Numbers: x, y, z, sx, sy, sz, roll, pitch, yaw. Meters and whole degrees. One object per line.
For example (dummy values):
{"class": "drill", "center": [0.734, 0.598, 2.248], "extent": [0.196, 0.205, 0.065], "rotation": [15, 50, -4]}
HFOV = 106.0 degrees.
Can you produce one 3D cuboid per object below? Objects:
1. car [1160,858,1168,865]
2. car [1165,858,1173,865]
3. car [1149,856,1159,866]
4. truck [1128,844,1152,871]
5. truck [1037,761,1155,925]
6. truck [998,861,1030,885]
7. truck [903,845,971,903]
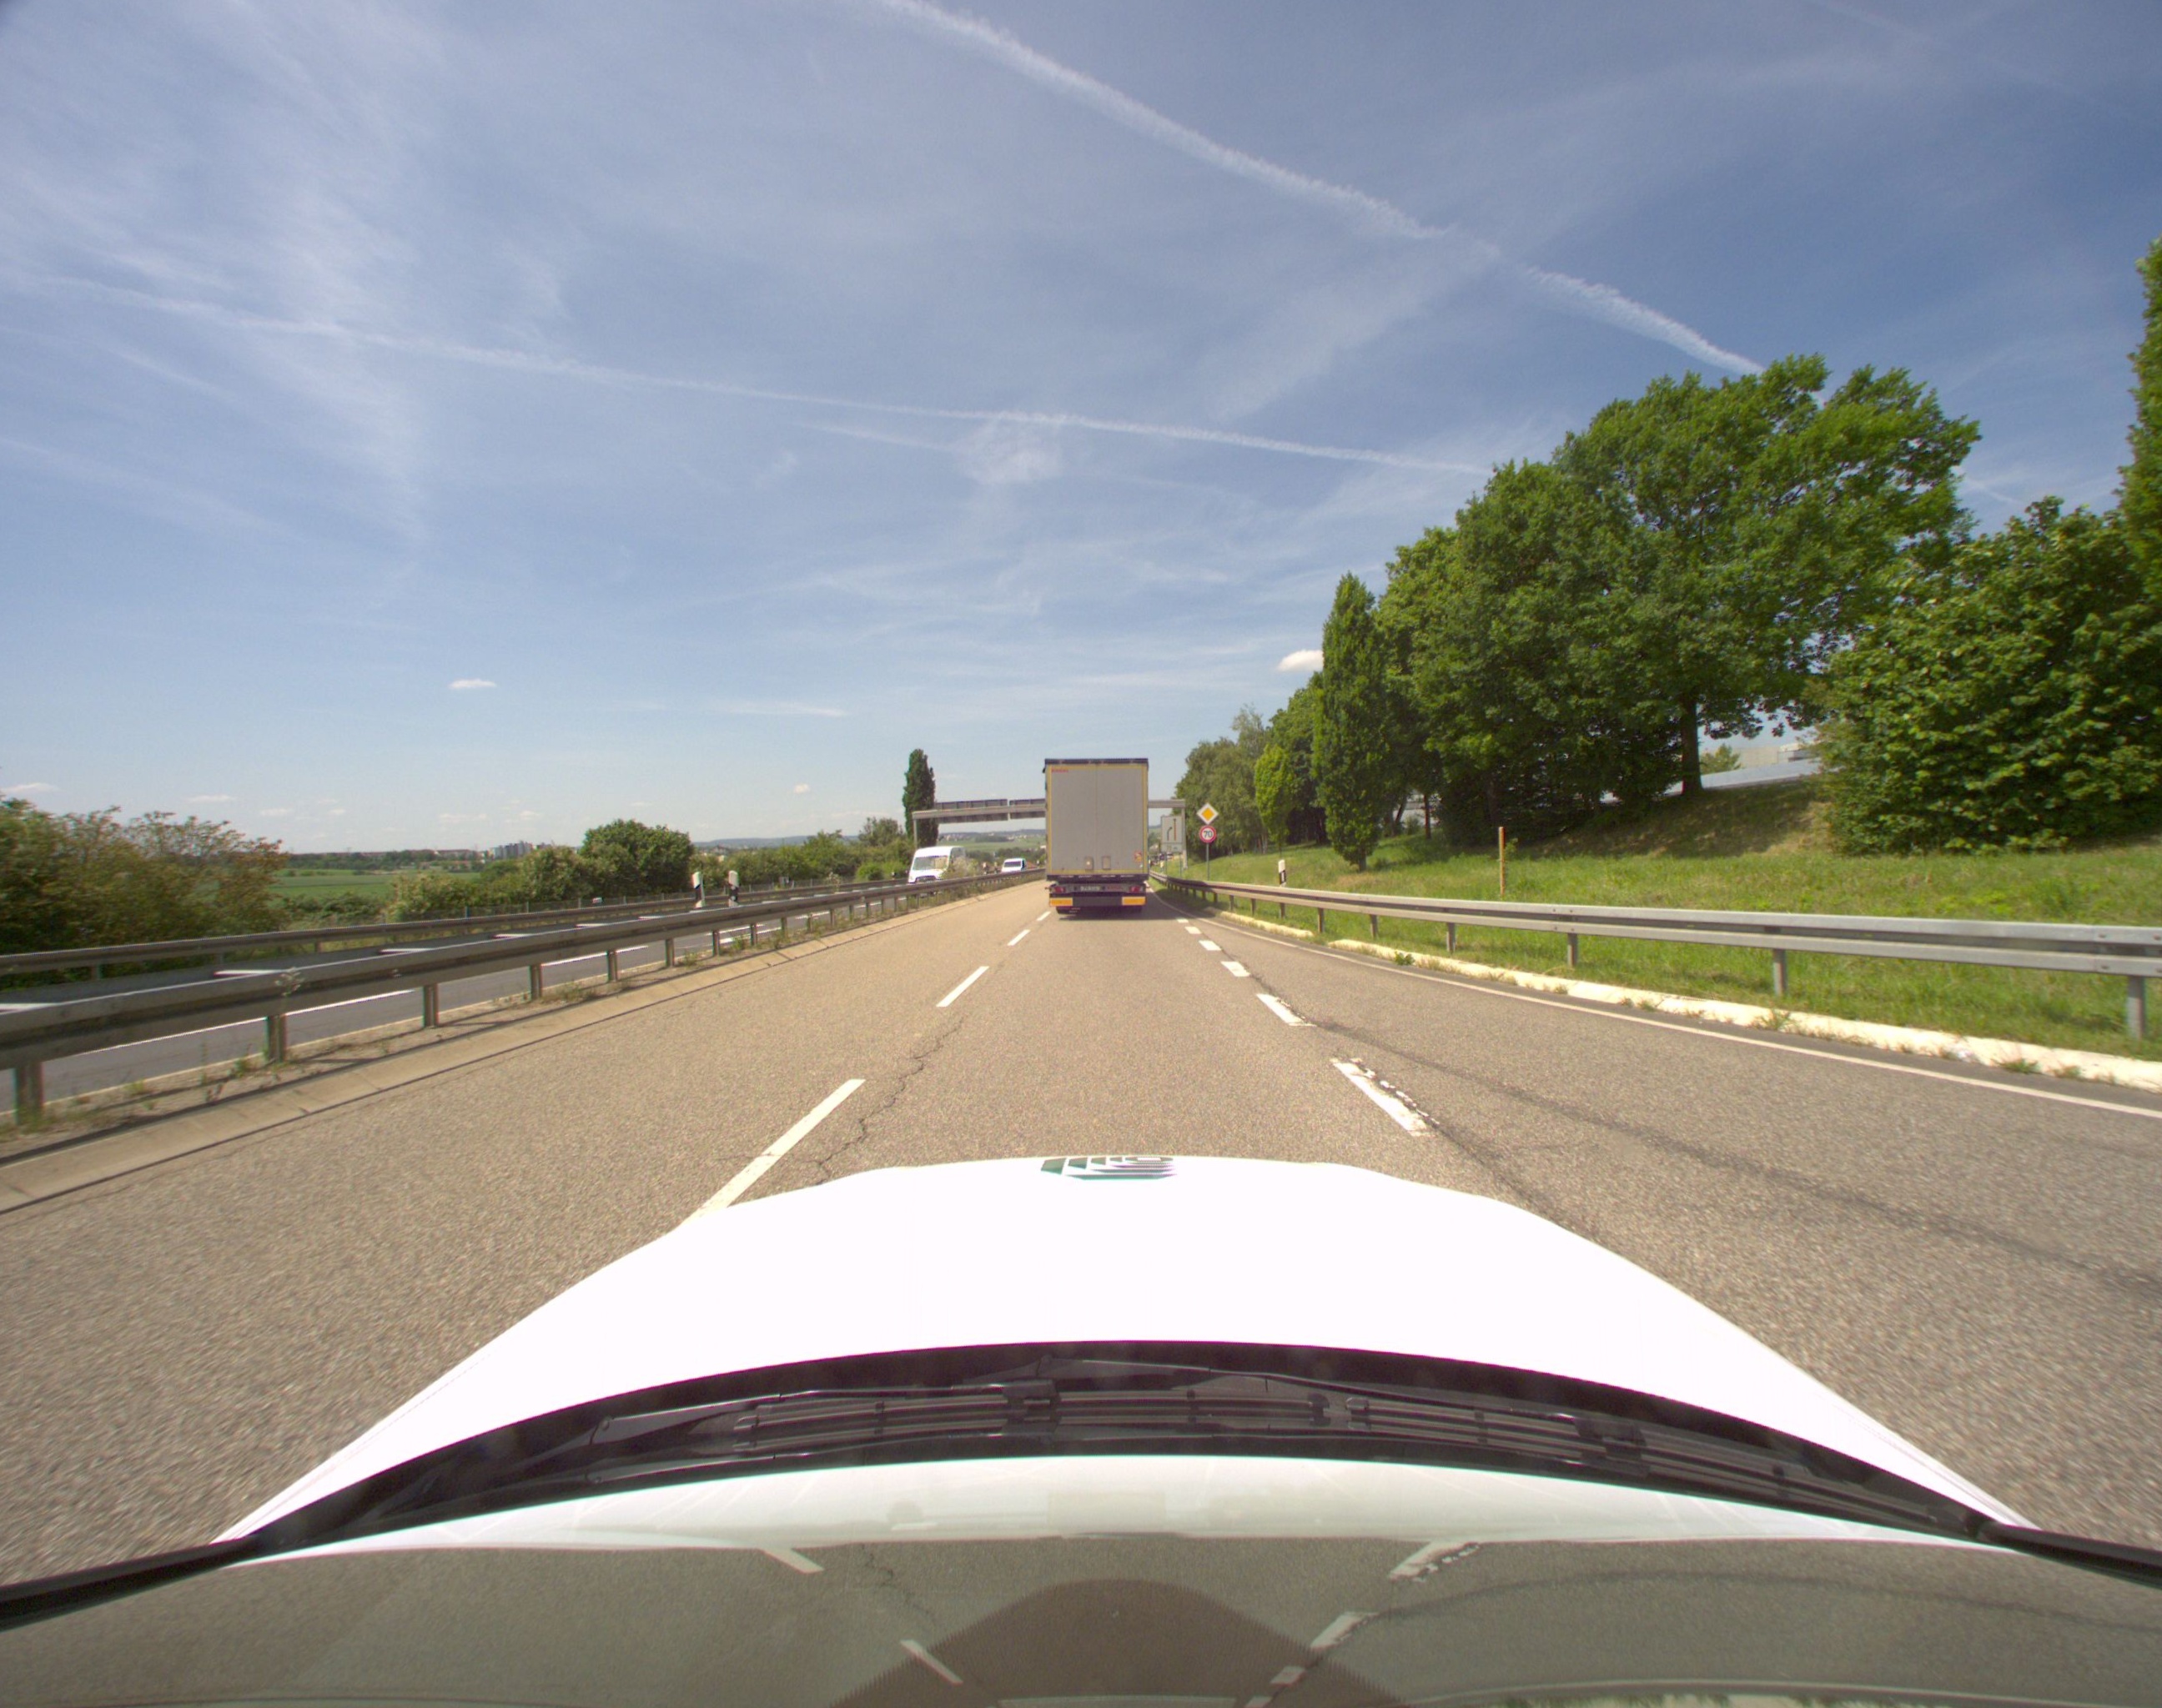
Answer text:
{"class": "car", "center": [19.539, 1.732, 192.512], "extent": [1.779, 1.688, 4.003], "rotation": [-1, -2, 3]}
{"class": "car", "center": [22.877, 1.997, 212.384], "extent": [1.779, 1.688, 4.003], "rotation": [-1, -2, 3]}
{"class": "car", "center": [14.406, 1.391, 160.073], "extent": [1.779, 1.688, 4.003], "rotation": [-1, -2, 3]}
{"class": "truck", "center": [8.661, 0.575, 118.610], "extent": [2.640, 3.765, 10.185], "rotation": [-1, -2, 8]}
{"class": "truck", "center": [0.550, -0.207, 25.414], "extent": [2.788, 3.930, 11.345], "rotation": [-1, -1, 2]}
{"class": "truck", "center": [-5.390, 1.565, 66.144], "extent": [1.841, 1.749, 4.541], "rotation": [-4, -2, 4]}
{"class": "truck", "center": [-7.226, 0.979, 41.534], "extent": [2.033, 2.621, 6.022], "rotation": [-4, -1, 2]}
